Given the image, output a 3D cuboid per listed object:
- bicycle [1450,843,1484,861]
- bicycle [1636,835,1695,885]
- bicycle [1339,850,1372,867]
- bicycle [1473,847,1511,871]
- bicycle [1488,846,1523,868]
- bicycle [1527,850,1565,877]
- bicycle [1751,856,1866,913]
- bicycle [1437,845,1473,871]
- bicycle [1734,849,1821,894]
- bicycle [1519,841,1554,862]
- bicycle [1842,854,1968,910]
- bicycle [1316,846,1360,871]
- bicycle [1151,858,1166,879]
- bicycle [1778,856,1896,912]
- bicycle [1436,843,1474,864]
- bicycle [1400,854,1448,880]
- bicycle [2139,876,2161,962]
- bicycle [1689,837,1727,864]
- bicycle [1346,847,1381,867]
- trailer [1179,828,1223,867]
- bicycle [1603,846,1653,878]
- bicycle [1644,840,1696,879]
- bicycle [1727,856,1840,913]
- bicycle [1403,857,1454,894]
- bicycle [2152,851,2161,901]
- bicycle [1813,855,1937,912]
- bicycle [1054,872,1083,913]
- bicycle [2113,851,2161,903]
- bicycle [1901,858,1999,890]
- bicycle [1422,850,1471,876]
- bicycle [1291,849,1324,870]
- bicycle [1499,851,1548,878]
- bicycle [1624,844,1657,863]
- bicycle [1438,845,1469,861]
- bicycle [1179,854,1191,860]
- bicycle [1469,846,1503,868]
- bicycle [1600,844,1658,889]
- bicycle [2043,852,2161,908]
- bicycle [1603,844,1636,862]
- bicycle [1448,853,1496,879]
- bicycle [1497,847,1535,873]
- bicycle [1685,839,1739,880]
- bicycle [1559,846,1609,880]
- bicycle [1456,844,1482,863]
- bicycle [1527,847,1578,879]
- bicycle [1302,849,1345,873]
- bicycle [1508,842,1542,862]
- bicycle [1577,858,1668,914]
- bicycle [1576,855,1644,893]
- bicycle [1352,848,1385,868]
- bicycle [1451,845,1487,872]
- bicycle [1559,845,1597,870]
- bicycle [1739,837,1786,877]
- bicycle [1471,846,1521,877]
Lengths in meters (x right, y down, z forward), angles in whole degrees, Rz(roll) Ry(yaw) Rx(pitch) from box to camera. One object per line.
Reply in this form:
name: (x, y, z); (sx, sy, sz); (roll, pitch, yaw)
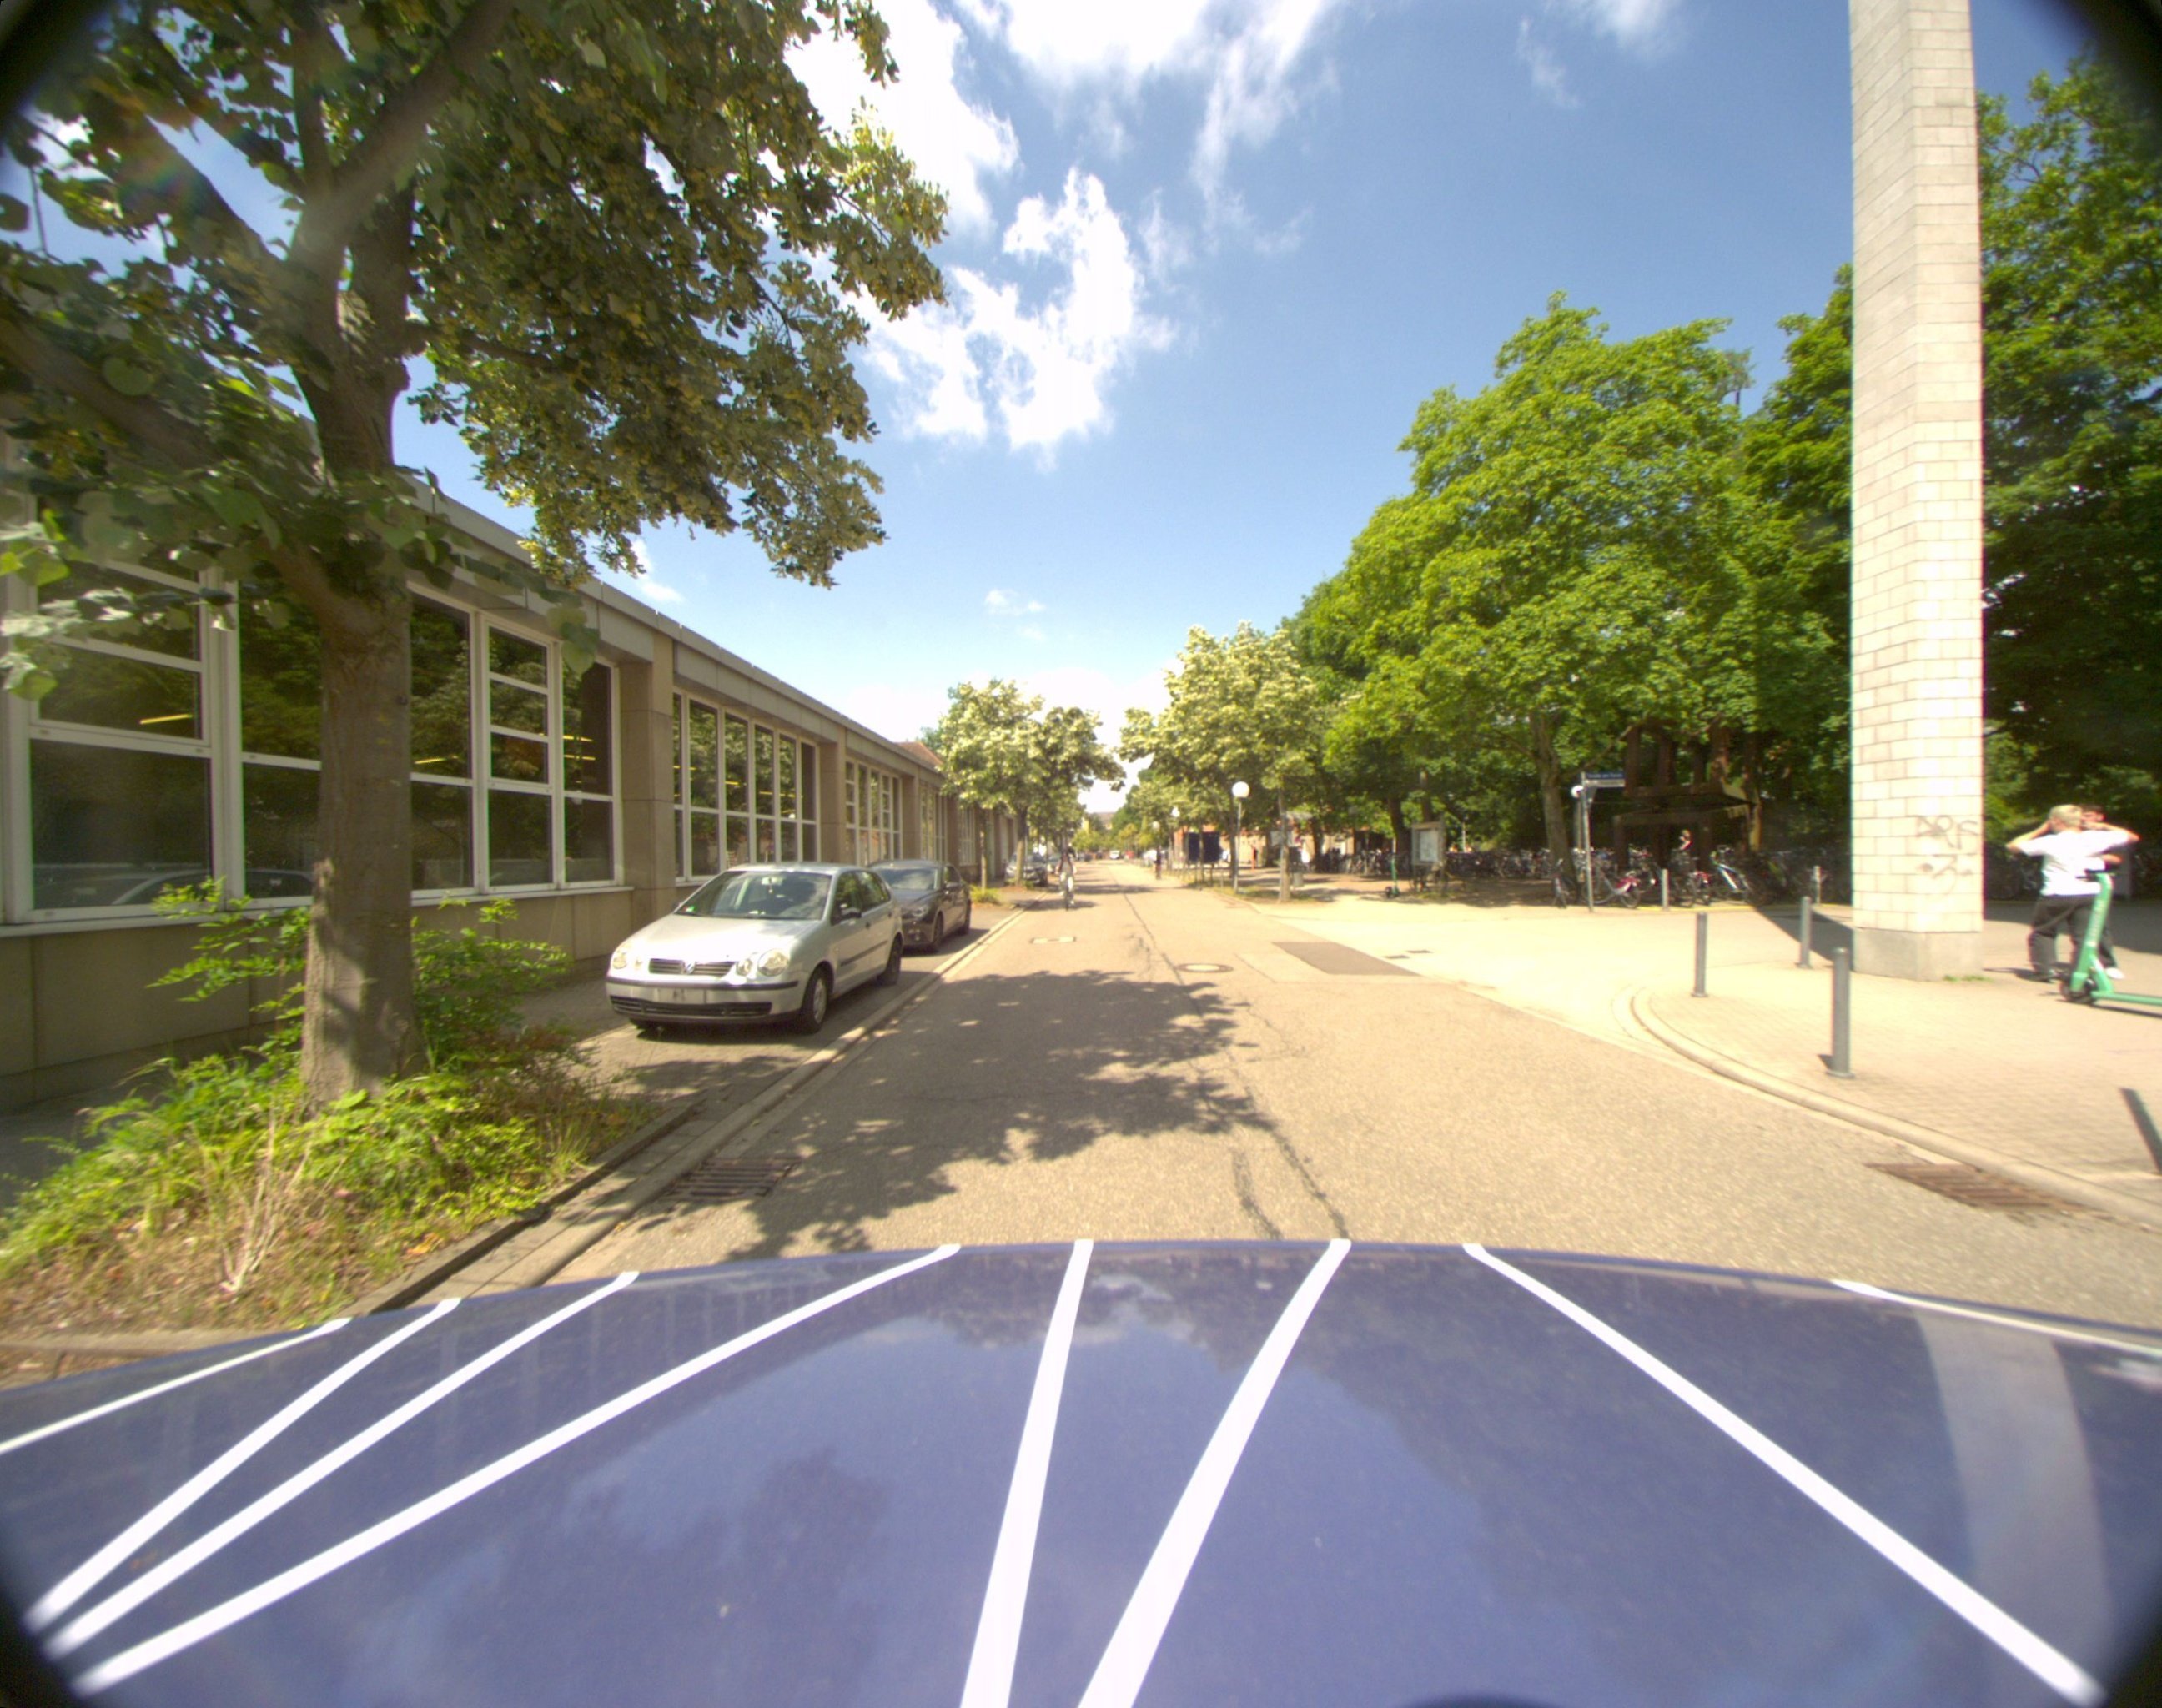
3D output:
bicycle: (24.288, -0.124, 47.777); (1.958, 1.085, 0.596); (-2, 2, -12)
bicycle: (17.643, 0.164, 22.925); (2.294, 1.441, 0.605); (-2, 1, -31)
bicycle: (17.248, 0.281, 47.752); (1.806, 1.008, 0.537); (-2, 1, 4)
bicycle: (19.772, 0.236, 36.549); (1.970, 1.083, 0.546); (-2, 1, -27)
bicycle: (21.603, 0.152, 38.623); (1.970, 1.083, 0.546); (-2, 1, -27)
bicycle: (21.091, 0.407, 34.442); (2.064, 1.126, 0.638); (-2, 0, -33)
bicycle: (15.323, 0.604, 16.083); (0.553, 1.080, 1.973); (-3, 0, 2)
bicycle: (18.880, 0.196, 38.339); (2.064, 1.227, 0.638); (-2, 0, -33)
bicycle: (16.989, 0.395, 18.602); (0.476, 1.026, 1.850); (-2, 1, 2)
bicycle: (25.551, -0.141, 42.620); (1.960, 1.085, 0.596); (-2, 2, -21)
bicycle: (17.436, 0.568, 16.151); (0.553, 1.080, 1.973); (-3, 0, 2)
bicycle: (13.708, 0.229, 40.506); (2.061, 1.227, 0.808); (-3, 1, -16)
bicycle: (4.483, 0.829, 44.074); (0.687, 1.123, 1.888); (-1, 0, 0)
bicycle: (15.933, 0.594, 16.094); (0.553, 1.080, 1.973); (-3, 0, 2)
bicycle: (20.576, -0.026, 41.836); (1.968, 1.083, 0.546); (-2, 1, -15)
bicycle: (15.749, 0.592, 34.827); (2.756, 1.080, 0.880); (-2, 0, -41)
bicycle: (13.036, 0.753, 8.281); (0.466, 1.008, 1.866); (-3, -2, 5)
bicycle: (29.784, -0.157, 36.075); (1.798, 1.200, 0.423); (-2, 1, -15)
bicycle: (16.985, 0.197, 45.691); (1.967, 1.119, 0.537); (-2, 1, -9)
trailer: (9.979, -0.561, 63.812); (2.703, 3.009, 6.266); (-2, 0, 1)
bicycle: (20.150, 0.299, 27.963); (2.689, 1.070, 0.880); (-2, 0, -41)
bicycle: (20.810, 0.181, 26.823); (2.939, 1.279, 0.880); (-2, 1, -41)
bicycle: (14.755, 0.615, 16.032); (0.553, 1.080, 1.973); (-3, 0, 2)
bicycle: (10.295, 0.615, 22.580); (0.383, 1.020, 1.813); (-2, 1, -11)
bicycle: (23.835, 0.483, 15.721); (0.553, 1.080, 1.973); (-3, 0, 2)
bicycle: (16.584, 0.589, 15.950); (0.553, 1.080, 1.973); (-3, 0, 2)
bicycle: (-0.342, 1.080, 21.983); (0.675, 1.066, 2.136); (-2, 0, 3)
bicycle: (23.175, 0.488, 15.878); (0.553, 1.080, 1.973); (-3, 0, 2)
bicycle: (21.503, 0.483, 18.840); (0.324, 0.758, 1.557); (-3, 1, -32)
bicycle: (16.354, 0.391, 33.946); (2.839, 1.044, 0.880); (-2, 0, -41)
bicycle: (12.749, 0.329, 42.834); (1.780, 1.125, 0.458); (-2, 1, -16)
bicycle: (18.259, 0.415, 31.328); (2.739, 0.997, 0.880); (-2, 0, -41)
bicycle: (28.620, -0.021, 38.856); (1.769, 0.888, 0.418); (-2, 1, -18)
bicycle: (24.016, -0.070, 48.995); (1.884, 0.937, 0.546); (-2, 2, -12)
bicycle: (17.275, 0.492, 125.946); (1.955, 1.024, 0.542); (-1, 1, 0)
bicycle: (21.150, 0.155, 39.673); (1.970, 1.083, 0.546); (-2, 1, -27)
bicycle: (15.699, 0.335, 21.771); (2.024, 1.246, 0.586); (-1, 0, -31)
bicycle: (21.686, 0.509, 15.930); (0.553, 1.080, 1.973); (-3, 0, 2)
bicycle: (28.150, -0.054, 39.714); (1.769, 0.888, 0.418); (-2, 1, -18)
bicycle: (17.143, 0.514, 33.274); (2.789, 1.009, 0.880); (-2, 0, -41)
bicycle: (20.249, 0.273, 35.361); (2.064, 1.151, 0.638); (-2, 0, -33)
bicycle: (21.372, 0.165, 25.699); (3.089, 1.289, 0.880); (-2, 1, -41)
bicycle: (19.340, 0.335, 29.170); (2.714, 1.172, 0.880); (-2, 1, -41)
bicycle: (23.544, -0.038, 46.051); (1.961, 1.085, 0.595); (-3, 2, -37)
bicycle: (18.925, 0.339, 30.440); (2.889, 1.171, 0.880); (-2, 1, -41)
bicycle: (13.183, 0.360, 41.330); (2.061, 1.227, 0.808); (-2, 1, -16)
bicycle: (25.225, -0.126, 43.176); (1.960, 1.085, 0.596); (-2, 2, -21)
bicycle: (11.538, 0.658, 16.268); (0.553, 1.080, 1.973); (-3, 0, 2)
bicycle: (14.333, 0.527, 20.646); (0.477, 0.959, 1.655); (-2, 1, -10)
bicycle: (16.758, 0.231, 44.302); (1.862, 1.083, 0.546); (-2, 1, -20)
bicycle: (19.222, 0.205, 37.638); (2.064, 1.227, 0.638); (-3, 1, -33)
bicycle: (23.444, 0.164, 35.836); (1.970, 1.083, 0.546); (-2, 1, -27)
bicycle: (22.430, 0.071, 24.981); (2.966, 1.120, 0.741); (-5, 2, -41)
bicycle: (17.702, 0.301, 32.360); (2.914, 1.213, 0.880); (-2, 1, -41)
